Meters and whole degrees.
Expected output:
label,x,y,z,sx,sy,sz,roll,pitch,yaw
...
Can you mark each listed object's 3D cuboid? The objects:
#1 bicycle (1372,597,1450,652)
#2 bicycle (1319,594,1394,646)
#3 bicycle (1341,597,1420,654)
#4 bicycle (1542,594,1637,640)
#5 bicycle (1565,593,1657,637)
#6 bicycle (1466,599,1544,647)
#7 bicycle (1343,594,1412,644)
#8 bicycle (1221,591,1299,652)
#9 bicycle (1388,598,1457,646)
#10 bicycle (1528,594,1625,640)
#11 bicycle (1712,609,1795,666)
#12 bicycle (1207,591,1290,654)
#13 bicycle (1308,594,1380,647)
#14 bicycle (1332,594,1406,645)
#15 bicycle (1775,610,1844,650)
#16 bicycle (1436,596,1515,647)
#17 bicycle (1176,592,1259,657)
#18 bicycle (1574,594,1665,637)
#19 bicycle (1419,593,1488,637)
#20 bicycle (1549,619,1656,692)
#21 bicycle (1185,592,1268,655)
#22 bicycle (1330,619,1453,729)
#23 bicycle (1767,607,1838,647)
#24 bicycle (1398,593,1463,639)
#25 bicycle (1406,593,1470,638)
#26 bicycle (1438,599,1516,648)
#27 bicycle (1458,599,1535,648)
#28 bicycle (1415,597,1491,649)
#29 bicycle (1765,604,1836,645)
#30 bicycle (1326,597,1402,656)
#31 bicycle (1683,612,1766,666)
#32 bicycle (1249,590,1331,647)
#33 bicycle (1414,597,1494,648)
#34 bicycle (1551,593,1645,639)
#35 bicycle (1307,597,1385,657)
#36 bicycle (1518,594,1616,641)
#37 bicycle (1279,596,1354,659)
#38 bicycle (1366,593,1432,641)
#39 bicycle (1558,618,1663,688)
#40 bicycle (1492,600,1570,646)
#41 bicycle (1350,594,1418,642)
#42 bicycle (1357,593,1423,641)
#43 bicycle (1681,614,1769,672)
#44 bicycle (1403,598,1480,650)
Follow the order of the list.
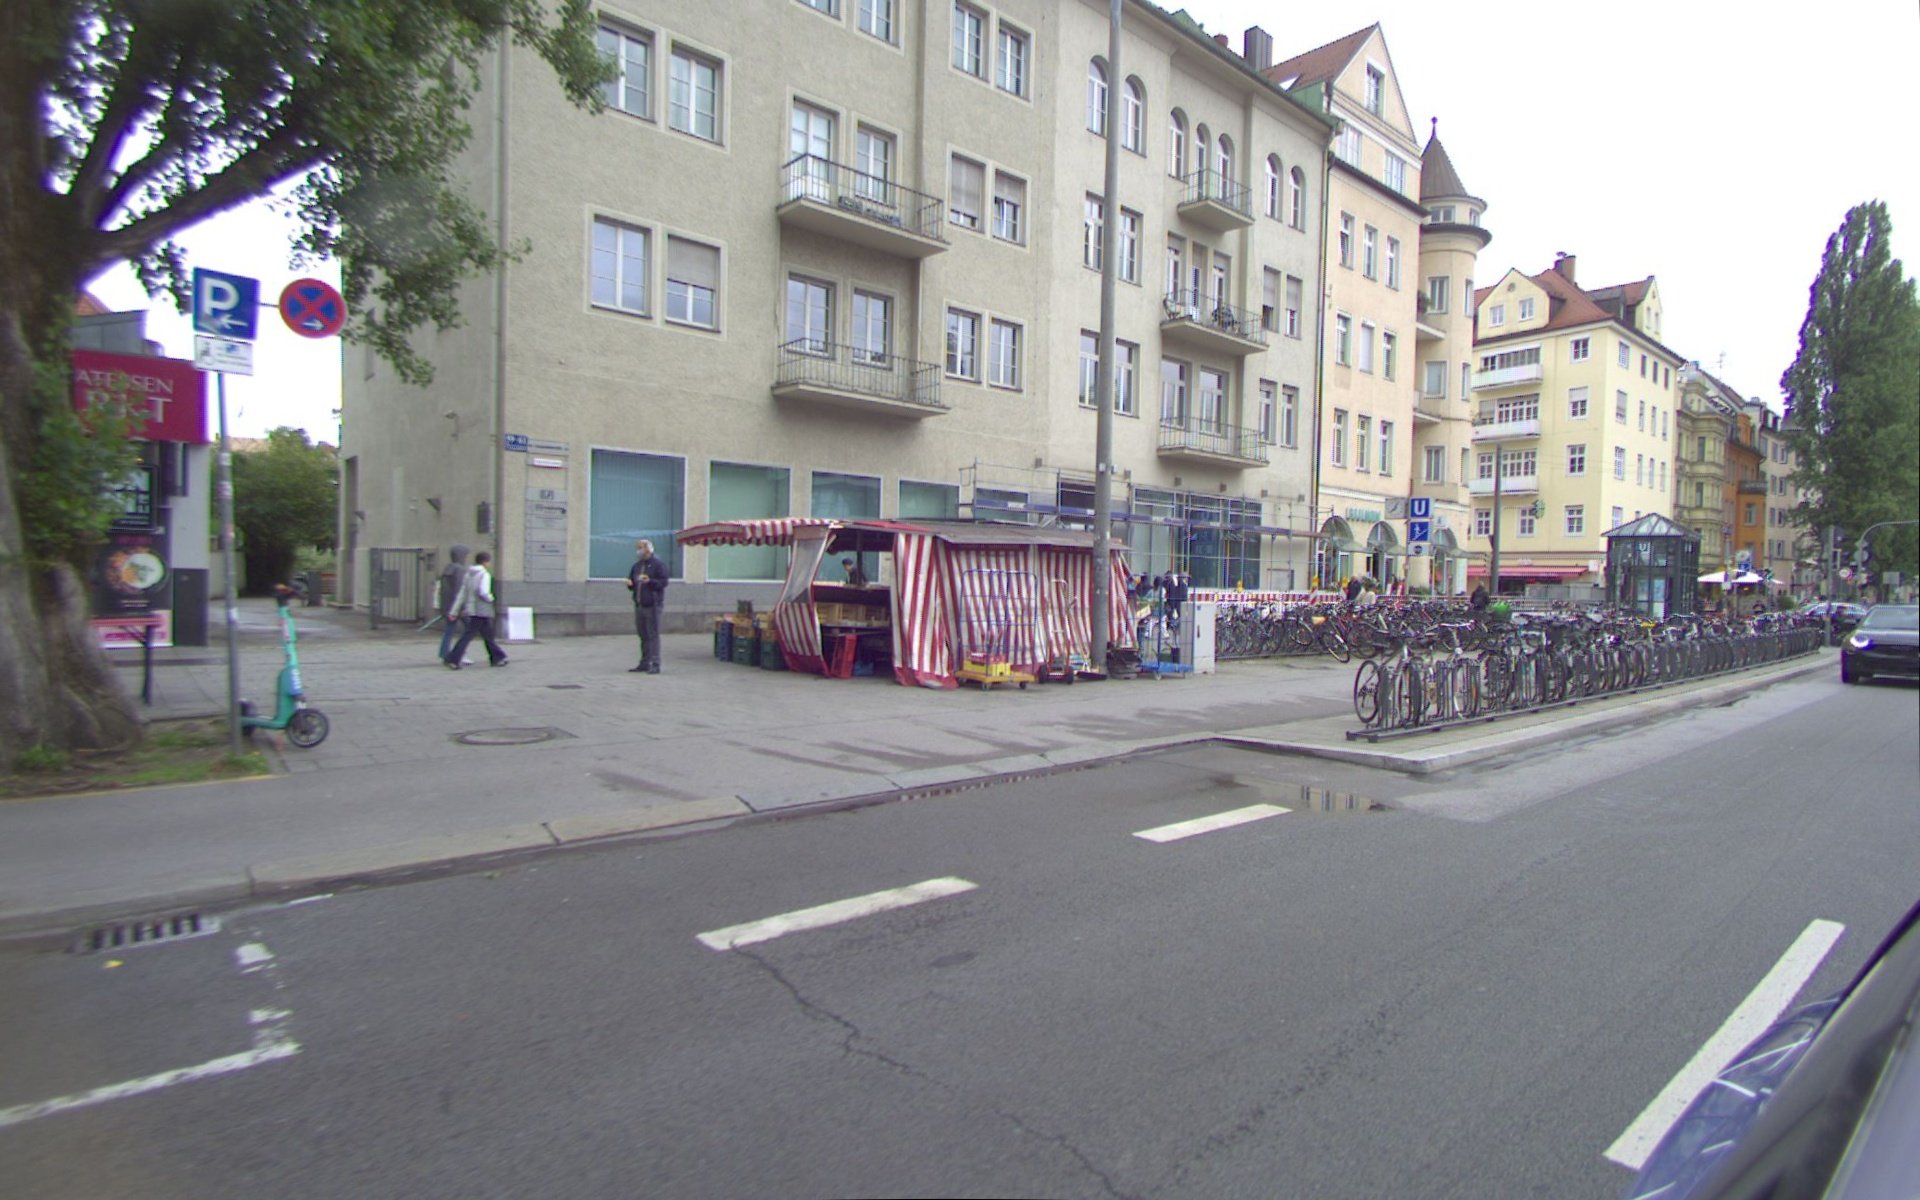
label,x,y,z,sx,sy,sz,roll,pitch,yaw
bicycle,9.835,0.518,22.101,1.447,1.091,0.404,4,3,41
bicycle,9.173,0.447,23.465,1.530,1.091,0.404,4,3,42
bicycle,8.854,0.513,21.343,1.447,1.091,0.404,4,3,41
bicycle,18.845,0.476,30.338,0.617,1.242,2.318,1,2,-38
bicycle,20.356,0.457,31.692,0.617,1.242,2.331,1,2,-38
bicycle,13.738,0.557,25.533,0.403,1.091,1.654,0,3,-42
bicycle,10.031,0.434,24.358,1.447,1.091,0.404,4,3,41
bicycle,6.143,0.422,20.809,0.402,1.116,1.636,1,3,-32
bicycle,11.733,0.549,25.713,0.403,1.091,1.528,0,3,-42
bicycle,18.226,0.480,29.981,0.617,1.242,2.344,1,2,-38
bicycle,17.357,0.805,22.184,0.481,1.151,1.794,1,1,3
bicycle,5.756,0.430,20.264,0.403,1.116,1.633,0,3,-38
bicycle,8.729,0.452,23.061,1.447,1.091,0.404,4,3,41
bicycle,9.627,0.442,23.840,1.530,1.091,0.404,4,3,42
bicycle,23.789,0.852,28.374,0.390,1.073,1.851,0,-2,1
bicycle,12.384,0.496,24.363,0.402,1.091,1.640,0,3,-36
bicycle,4.931,0.442,19.458,0.402,1.116,1.635,1,3,-36
bicycle,20.927,0.469,32.168,0.617,1.242,2.318,1,2,-38
bicycle,13.440,0.389,27.593,0.403,1.091,1.651,0,3,-38
bicycle,9.626,0.813,15.240,0.379,1.024,1.802,0,-2,-3
bicycle,5.235,0.434,19.946,0.403,1.116,1.633,0,3,-38
bicycle,4.510,0.753,10.684,0.536,1.068,1.576,0,-2,-3
bicycle,23.196,0.746,27.898,0.390,1.073,1.851,0,-2,1
bicycle,12.277,0.405,26.455,1.449,1.091,0.403,4,3,44
bicycle,12.654,0.399,26.821,1.449,1.091,0.403,4,3,44
bicycle,12.767,0.563,25.027,0.403,1.091,1.624,0,3,-42
bicycle,13.376,0.561,25.272,0.403,1.091,1.604,0,3,-42
bicycle,11.523,0.530,23.690,0.403,1.091,1.527,0,3,-42
bicycle,22.672,0.670,27.331,0.390,1.073,1.851,0,-2,1
bicycle,8.350,0.533,20.955,0.402,1.091,1.454,1,3,-33
bicycle,15.759,0.799,20.910,0.390,1.073,1.850,0,-2,4
bicycle,7.176,0.390,22.062,1.627,1.116,0.404,4,3,40
bicycle,11.825,0.512,24.253,0.403,1.091,1.660,0,3,-42
bicycle,19.504,0.467,30.982,0.617,1.242,2.344,1,2,-38
bicycle,7.902,0.535,20.761,0.402,1.091,1.484,1,3,-36
bicycle,17.695,0.486,29.575,0.617,1.242,2.369,1,2,-38
bicycle,6.860,0.518,19.528,0.402,1.091,1.477,1,3,-26
bicycle,11.105,0.415,25.625,1.447,1.091,0.404,4,3,41
bicycle,10.118,0.812,15.806,0.379,1.024,1.802,0,-2,-3
bicycle,14.701,0.582,26.059,1.728,1.091,0.410,2,2,-1
bicycle,10.372,0.427,24.806,1.447,1.091,0.404,4,3,41
bicycle,10.740,0.420,25.305,1.447,1.091,0.404,4,3,41
bicycle,14.856,0.822,19.703,0.390,1.073,1.850,0,-2,4
bicycle,11.079,0.535,23.318,0.403,1.091,1.538,0,3,-42
